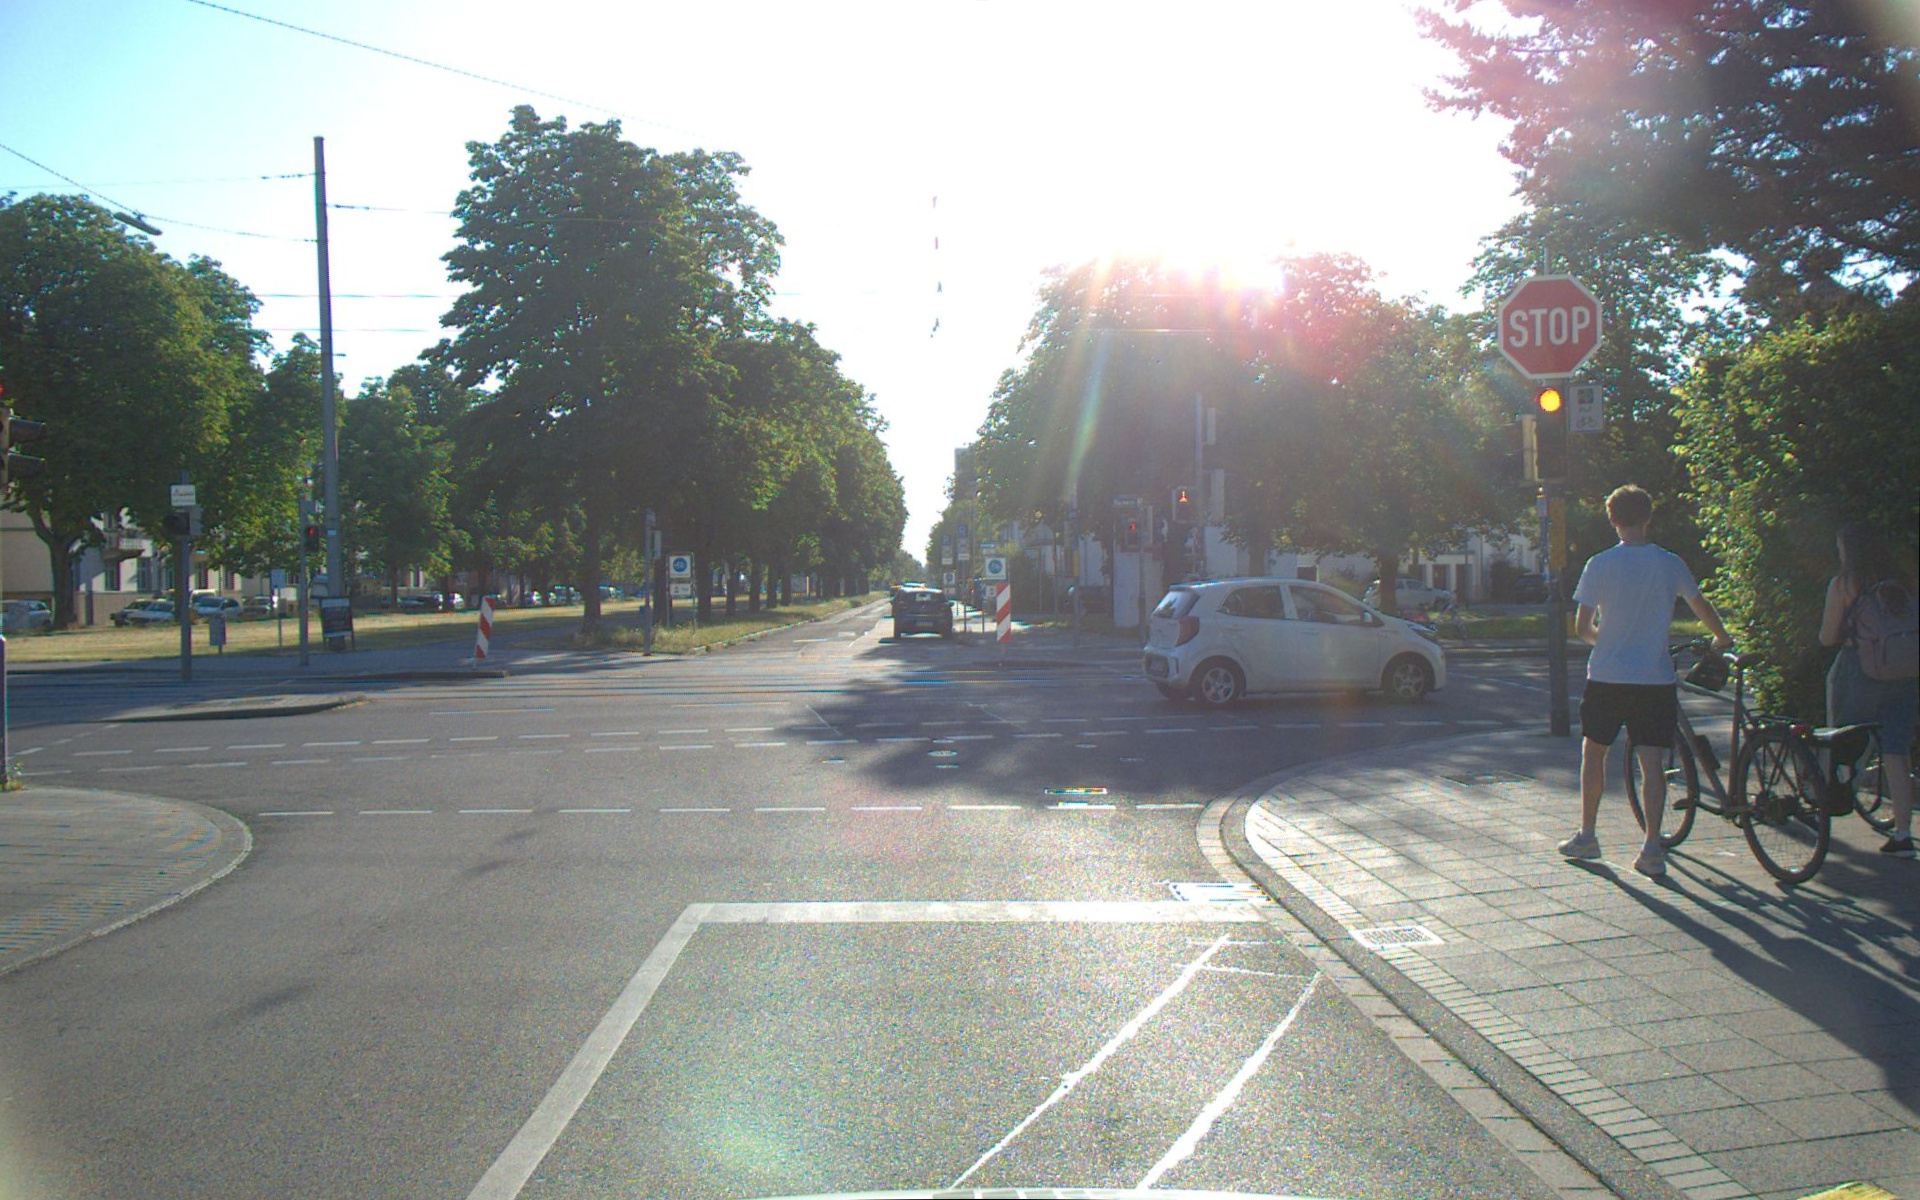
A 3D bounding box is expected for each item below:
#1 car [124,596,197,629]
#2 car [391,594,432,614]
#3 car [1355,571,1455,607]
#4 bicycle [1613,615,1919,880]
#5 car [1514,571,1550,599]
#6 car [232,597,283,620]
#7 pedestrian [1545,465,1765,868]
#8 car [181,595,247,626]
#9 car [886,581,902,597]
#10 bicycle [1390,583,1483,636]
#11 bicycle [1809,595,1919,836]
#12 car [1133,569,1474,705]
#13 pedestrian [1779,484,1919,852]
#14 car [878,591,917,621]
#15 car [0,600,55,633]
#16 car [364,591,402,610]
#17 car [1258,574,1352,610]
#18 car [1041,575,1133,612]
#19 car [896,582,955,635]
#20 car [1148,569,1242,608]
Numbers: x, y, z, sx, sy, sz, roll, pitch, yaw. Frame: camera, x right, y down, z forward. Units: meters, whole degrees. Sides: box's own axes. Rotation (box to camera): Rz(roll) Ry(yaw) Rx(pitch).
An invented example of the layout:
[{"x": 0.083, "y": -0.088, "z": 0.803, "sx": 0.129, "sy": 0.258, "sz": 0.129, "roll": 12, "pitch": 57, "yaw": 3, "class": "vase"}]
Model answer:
[{"x": -38.626, "y": 0.586, "z": 80.035, "sx": 1.702, "sy": 1.452, "sz": 3.792, "roll": -1, "pitch": 1, "yaw": -1, "class": "car"}, {"x": -40.039, "y": 0.284, "z": 120.782, "sx": 1.702, "sy": 1.452, "sz": 3.792, "roll": 0, "pitch": 0, "yaw": -1, "class": "car"}, {"x": 18.946, "y": -0.476, "z": 70.491, "sx": 3.771, "sy": 1.452, "sz": 1.596, "roll": -1, "pitch": 0, "yaw": -6, "class": "car"}, {"x": 3.976, "y": 0.663, "z": 8.263, "sx": 0.478, "sy": 1.116, "sz": 1.788, "roll": -3, "pitch": 1, "yaw": -7, "class": "bicycle"}, {"x": 30.555, "y": -0.814, "z": 88.299, "sx": 1.630, "sy": 1.442, "sz": 3.543, "roll": -1, "pitch": 1, "yaw": 21, "class": "car"}, {"x": -45.475, "y": 0.518, "z": 107.102, "sx": 1.702, "sy": 1.452, "sz": 3.792, "roll": 0, "pitch": 0, "yaw": -1, "class": "car"}, {"x": 3.507, "y": 0.313, "z": 8.415, "sx": 0.656, "sy": 1.897, "sz": 0.882, "roll": -4, "pitch": 1, "yaw": 3, "class": "pedestrian"}, {"x": -38.778, "y": 0.531, "z": 86.075, "sx": 1.702, "sy": 1.452, "sz": 3.792, "roll": -1, "pitch": 2, "yaw": -1, "class": "car"}, {"x": -9.035, "y": -1.513, "z": 226.133, "sx": 2.090, "sy": 2.049, "sz": 3.901, "roll": 0, "pitch": 1, "yaw": -1, "class": "car"}, {"x": 10.751, "y": 0.206, "z": 37.338, "sx": 1.913, "sy": 1.152, "sz": 0.620, "roll": -1, "pitch": 0, "yaw": 1, "class": "bicycle"}, {"x": 4.965, "y": 0.574, "z": 8.210, "sx": 0.478, "sy": 1.162, "sz": 1.595, "roll": -3, "pitch": 1, "yaw": -7, "class": "bicycle"}, {"x": 4.071, "y": 0.405, "z": 19.825, "sx": 3.622, "sy": 1.514, "sz": 1.736, "roll": 0, "pitch": 0, "yaw": -12, "class": "car"}, {"x": 4.659, "y": 0.309, "z": 8.268, "sx": 0.656, "sy": 1.737, "sz": 0.622, "roll": -6, "pitch": 1, "yaw": -5, "class": "pedestrian"}, {"x": -3.095, "y": 0.279, "z": 82.678, "sx": 1.808, "sy": 1.418, "sz": 3.828, "roll": 0, "pitch": 1, "yaw": -1, "class": "car"}, {"x": -44.080, "y": 0.770, "z": 76.860, "sx": 1.701, "sy": 1.452, "sz": 3.795, "roll": 0, "pitch": 1, "yaw": 5, "class": "car"}, {"x": -45.692, "y": 0.032, "z": 131.000, "sx": 1.702, "sy": 1.452, "sz": 3.792, "roll": 0, "pitch": 1, "yaw": -1, "class": "car"}, {"x": 14.525, "y": -0.341, "z": 69.736, "sx": 3.592, "sy": 1.452, "sz": 1.530, "roll": -1, "pitch": 0, "yaw": -6, "class": "car"}, {"x": 5.303, "y": -0.285, "z": 69.504, "sx": 3.703, "sy": 1.452, "sz": 1.743, "roll": -1, "pitch": 2, "yaw": -1, "class": "car"}, {"x": -0.980, "y": 0.229, "z": 48.417, "sx": 1.607, "sy": 1.476, "sz": 3.308, "roll": 0, "pitch": 1, "yaw": 1, "class": "car"}, {"x": 9.883, "y": -0.480, "z": 69.813, "sx": 3.703, "sy": 1.552, "sz": 1.743, "roll": -1, "pitch": 2, "yaw": -1, "class": "car"}]
